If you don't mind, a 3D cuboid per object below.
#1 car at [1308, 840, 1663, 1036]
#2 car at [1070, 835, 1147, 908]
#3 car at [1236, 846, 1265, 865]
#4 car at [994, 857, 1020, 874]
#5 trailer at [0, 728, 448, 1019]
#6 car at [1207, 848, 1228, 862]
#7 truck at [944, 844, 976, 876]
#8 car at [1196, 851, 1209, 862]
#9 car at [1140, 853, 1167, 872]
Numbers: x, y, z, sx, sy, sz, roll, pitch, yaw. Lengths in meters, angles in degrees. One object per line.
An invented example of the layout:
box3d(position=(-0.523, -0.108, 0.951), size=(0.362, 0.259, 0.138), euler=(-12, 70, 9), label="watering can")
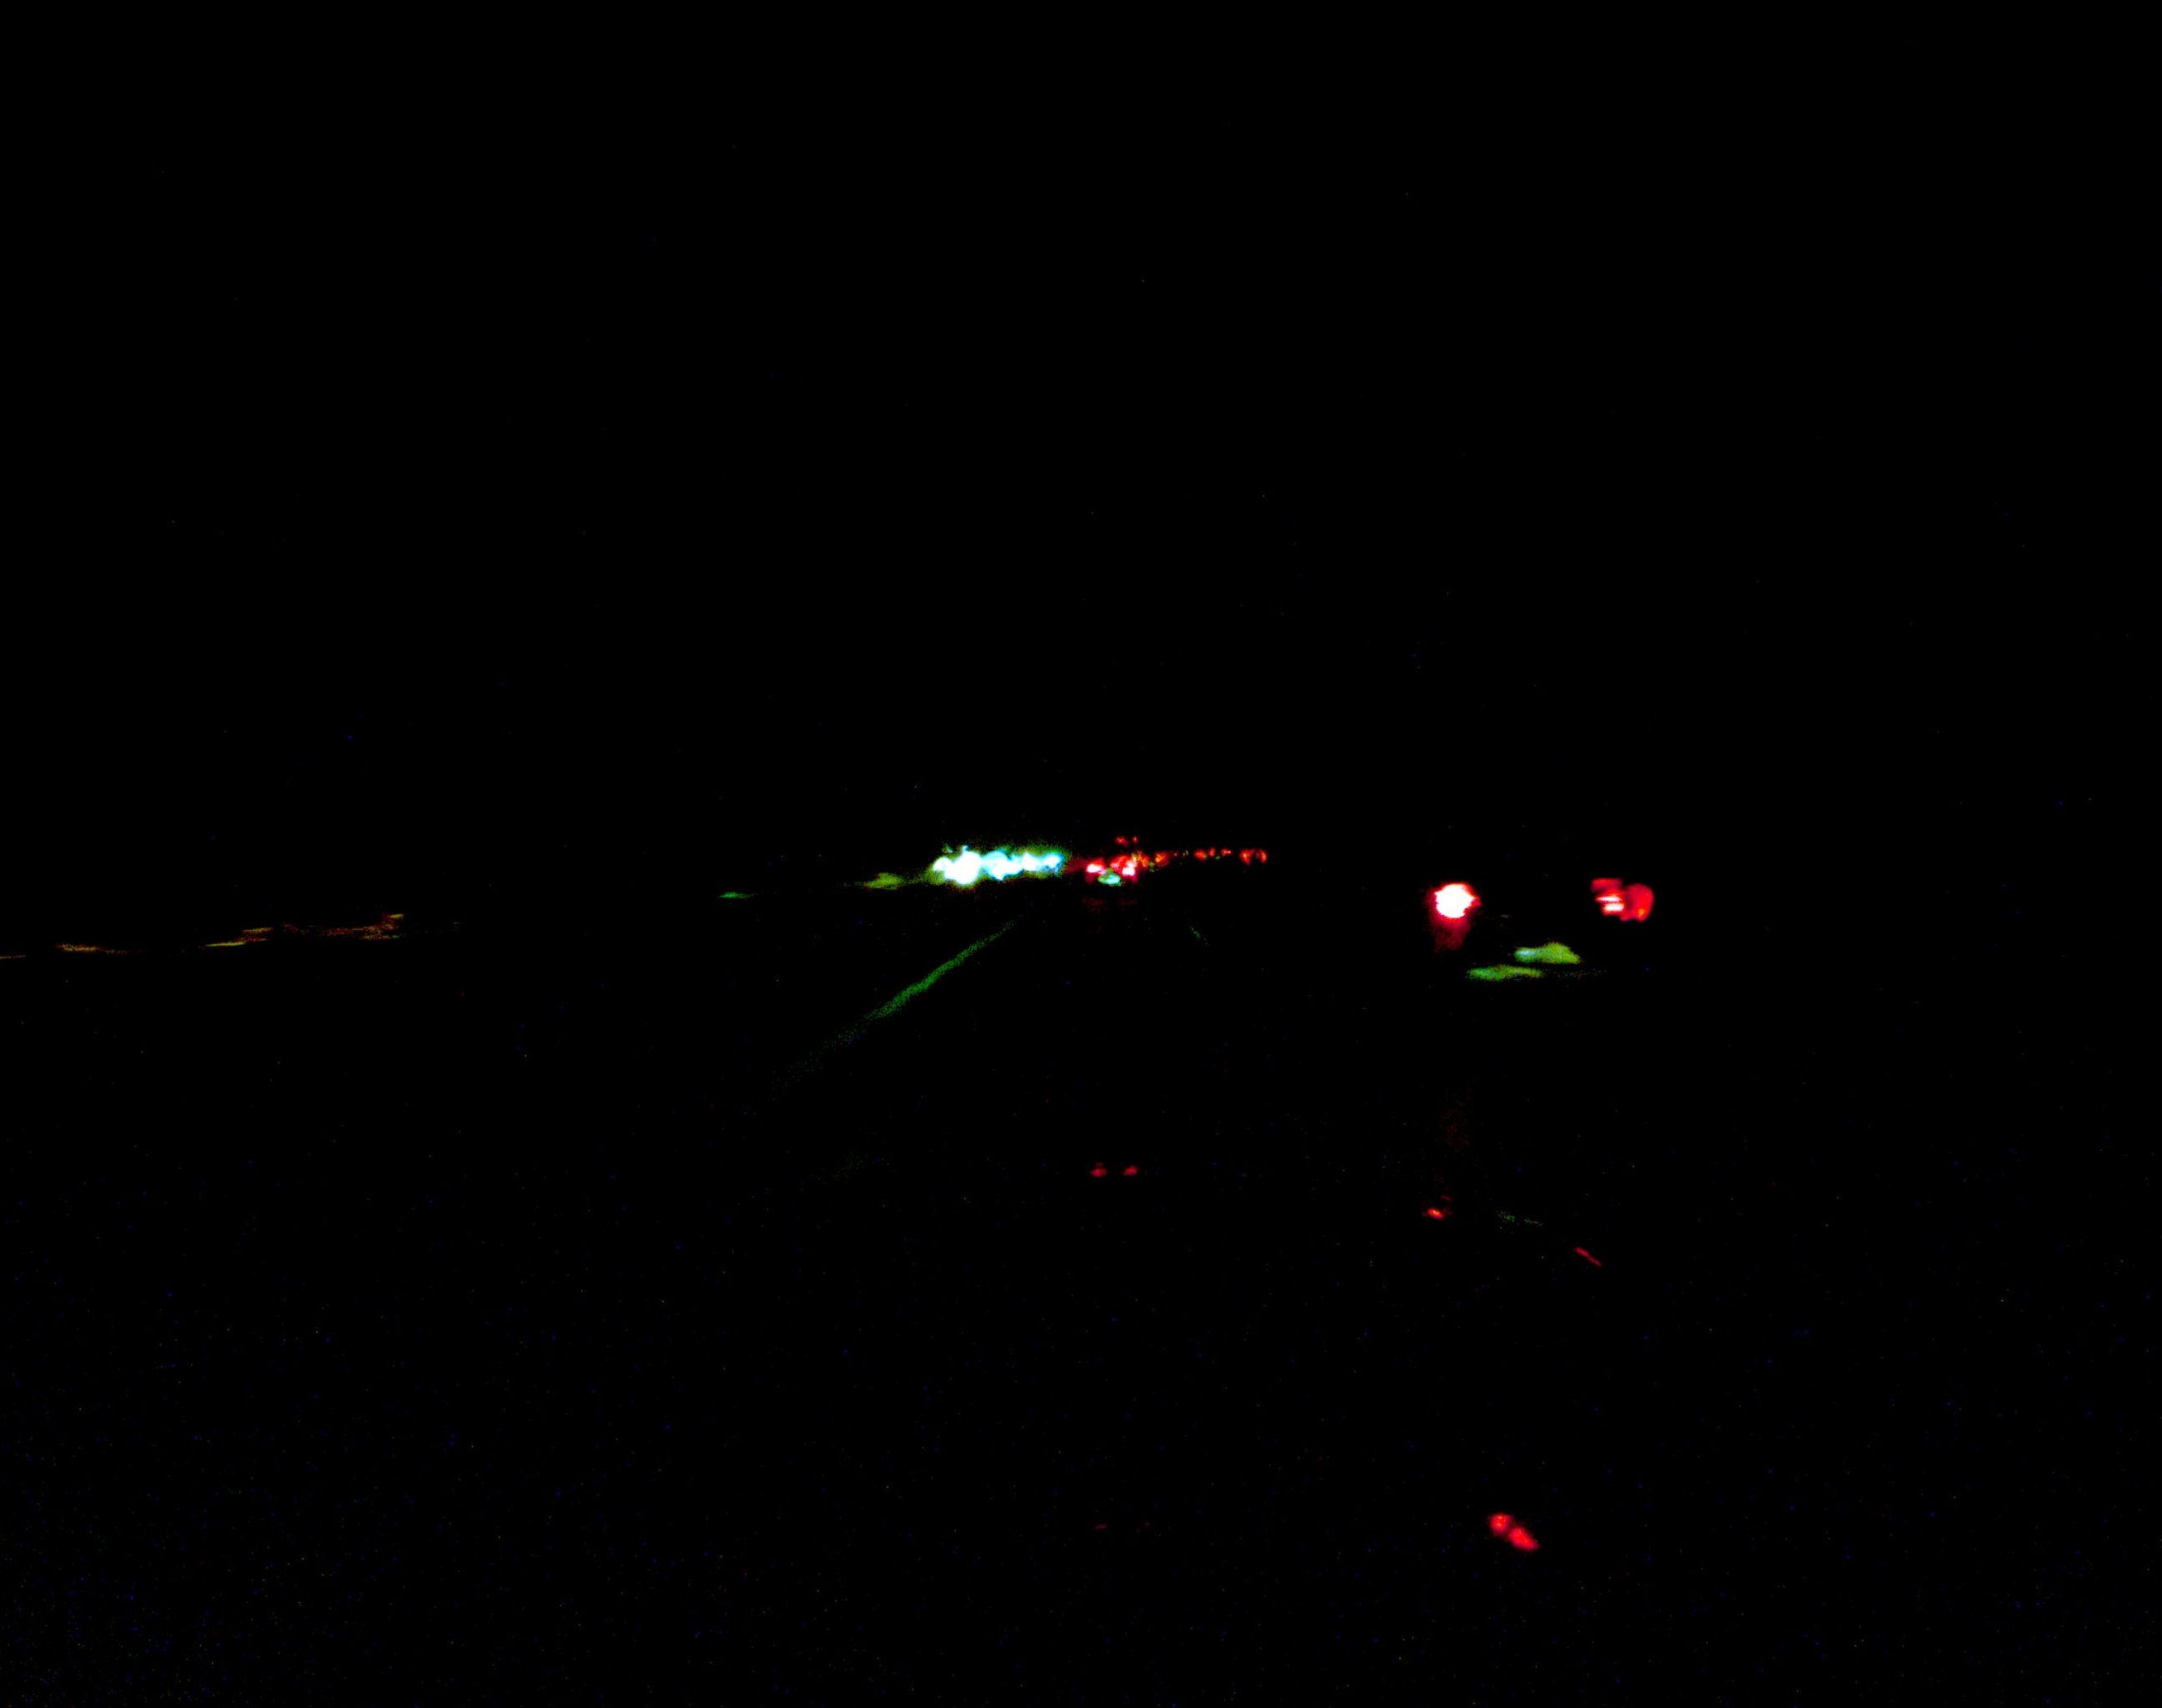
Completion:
box3d(position=(3.860, 0.680, 8.657), size=(1.877, 1.588, 4.002), euler=(-1, 0, 2), label="car")
box3d(position=(1.030, 0.628, 32.809), size=(2.701, 2.533, 5.831), euler=(-3, 0, 0), label="car")
box3d(position=(14.736, 0.122, 71.082), size=(1.848, 1.618, 4.003), euler=(0, 0, 3), label="car")
box3d(position=(-6.658, 1.044, 73.766), size=(1.773, 1.442, 4.002), euler=(-2, 0, 2), label="car")
box3d(position=(-16.691, 0.334, 12.054), size=(2.956, 4.094, 14.227), euler=(-3, 0, 2), label="trailer")
box3d(position=(15.972, 0.122, 95.583), size=(1.849, 1.618, 4.001), euler=(0, 0, 1), label="car")
box3d(position=(-14.131, 0.682, 95.555), size=(2.631, 3.580, 6.178), euler=(-1, 0, 2), label="truck")
box3d(position=(17.683, 0.383, 118.317), size=(1.704, 1.558, 4.007), euler=(0, 0, 6), label="car")
box3d(position=(6.138, 0.727, 69.641), size=(2.128, 1.618, 4.003), euler=(0, 0, 3), label="car")
